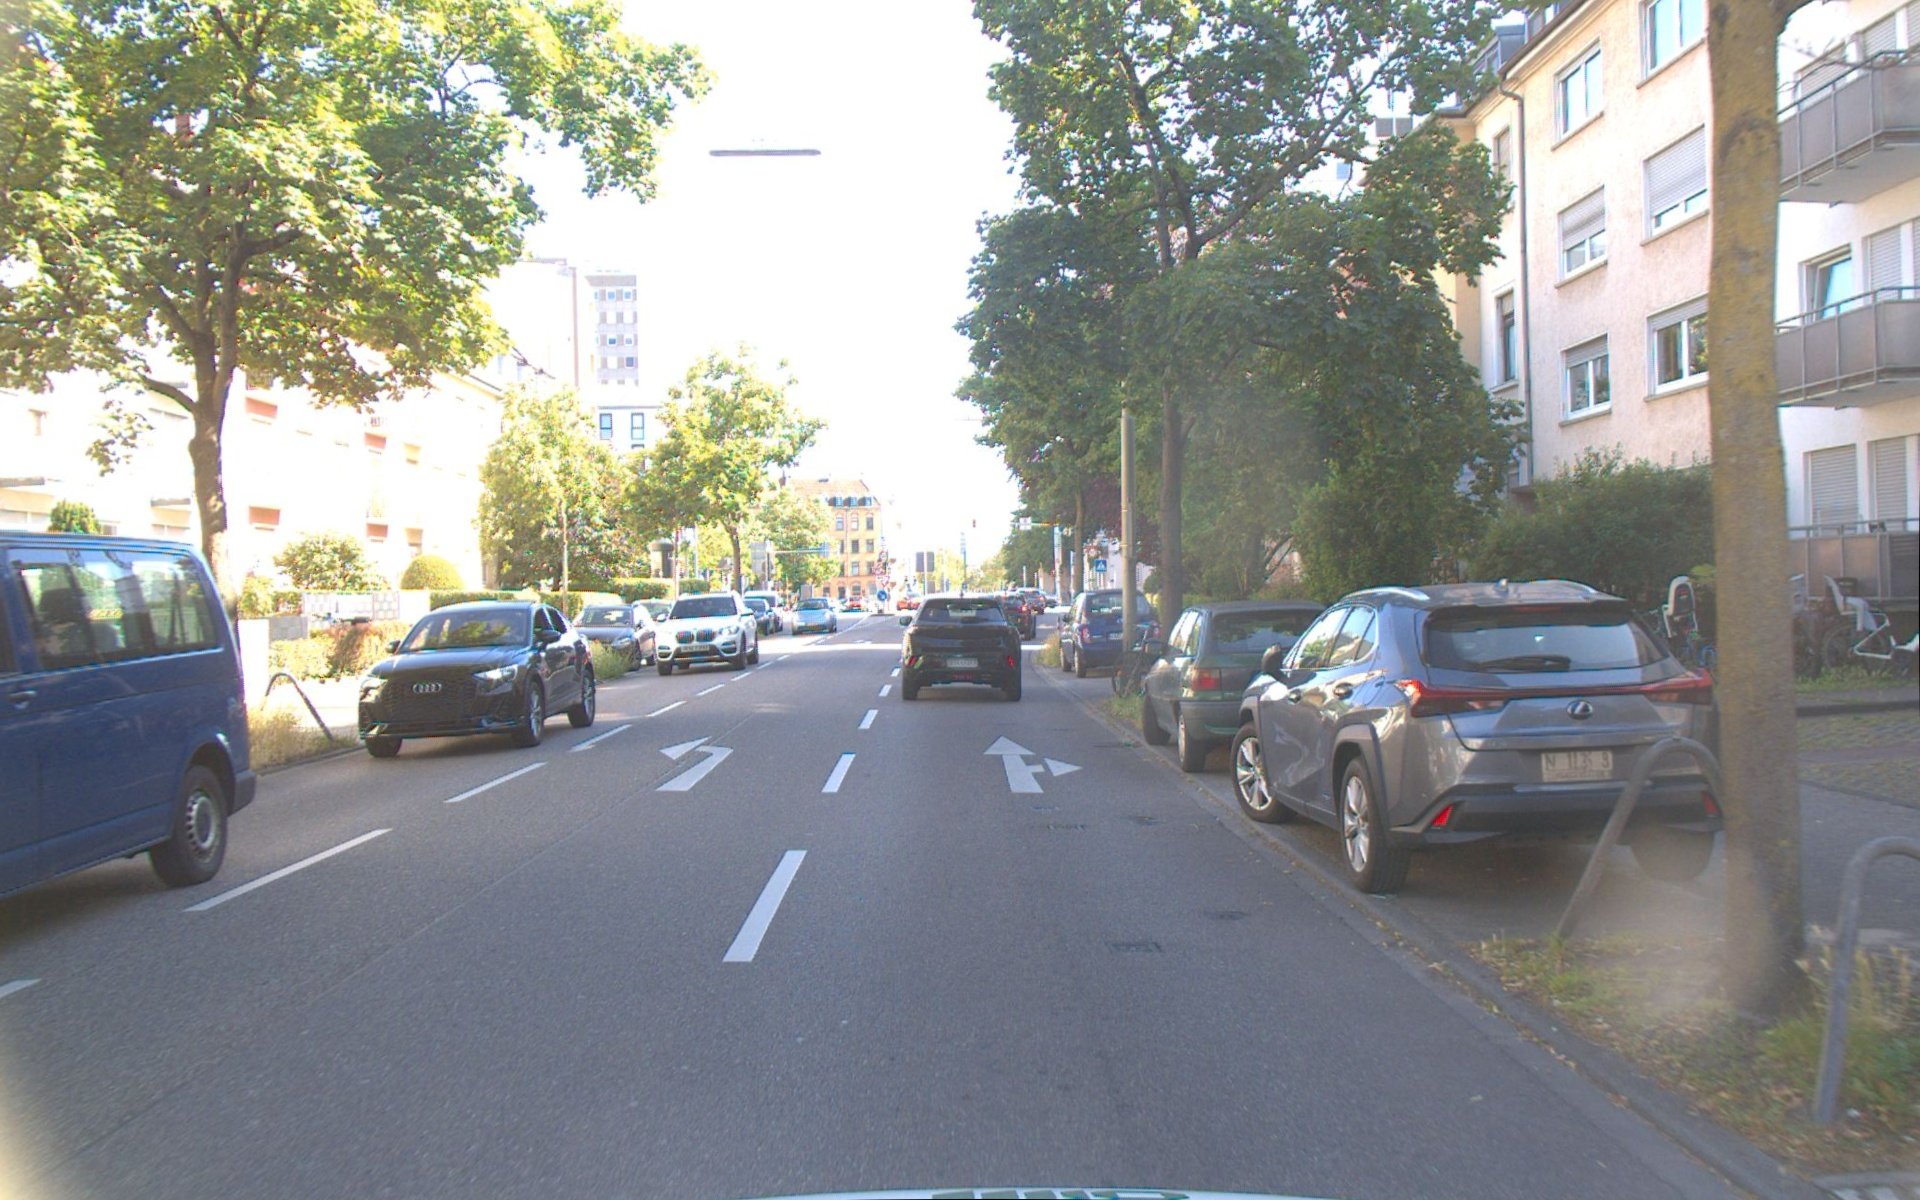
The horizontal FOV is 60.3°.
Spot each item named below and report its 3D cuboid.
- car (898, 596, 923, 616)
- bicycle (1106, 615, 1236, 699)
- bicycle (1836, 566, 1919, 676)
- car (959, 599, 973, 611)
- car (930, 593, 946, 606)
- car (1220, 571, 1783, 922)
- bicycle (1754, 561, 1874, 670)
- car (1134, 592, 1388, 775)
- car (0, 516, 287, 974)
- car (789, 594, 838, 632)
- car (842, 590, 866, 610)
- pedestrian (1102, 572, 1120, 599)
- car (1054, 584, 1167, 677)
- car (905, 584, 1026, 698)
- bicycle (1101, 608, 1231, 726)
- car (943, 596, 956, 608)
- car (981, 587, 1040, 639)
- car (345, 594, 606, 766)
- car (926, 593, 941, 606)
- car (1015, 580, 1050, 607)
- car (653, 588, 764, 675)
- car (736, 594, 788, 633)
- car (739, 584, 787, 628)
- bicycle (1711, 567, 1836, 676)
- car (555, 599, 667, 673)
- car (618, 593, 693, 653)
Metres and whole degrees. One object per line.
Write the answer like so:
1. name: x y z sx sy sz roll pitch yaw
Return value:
1. car: -3.836 0.463 128.792 1.735 1.478 3.885 -2 1 0
2. bicycle: 2.904 0.785 22.792 1.703 1.040 0.524 -4 -2 7
3. bicycle: 11.288 0.229 19.618 1.506 1.244 0.463 -4 0 30
4. car: 0.824 0.690 229.256 1.822 1.689 4.000 1 0 1
5. car: -2.753 -0.053 208.990 1.952 1.546 4.000 1 0 1
6. car: 2.783 0.641 9.572 1.680 1.515 4.232 -2 0 -2
7. bicycle: 11.056 0.186 21.474 0.579 1.309 1.689 -4 0 0
8. car: 2.647 0.664 15.379 1.579 1.407 3.976 -2 0 0
9. car: -5.002 0.663 7.685 1.767 1.944 4.711 -4 0 -1
10. car: -5.969 0.504 67.637 1.702 1.405 3.935 -3 1 -2
11. car: -9.151 0.025 143.064 1.754 1.645 4.000 -2 1 0
12. pedestrian: 9.706 -0.918 106.426 1.020 1.688 0.783 -2 0 -5
13. car: 2.759 0.522 30.946 1.528 1.541 3.653 -4 0 -3
14. car: 0.046 0.569 25.077 1.710 1.601 3.557 0 0 -1
15. bicycle: 2.388 0.748 19.034 1.652 1.258 0.465 -2 0 -40
16. car: -1.584 0.297 248.665 1.953 1.898 3.998 1 0 -2
17. car: 1.632 0.408 54.922 1.793 1.606 3.839 -2 1 0
18. car: -5.378 0.804 18.945 1.684 1.593 4.341 -4 1 -1
19. car: -3.112 -0.095 195.105 1.773 1.431 3.999 -2 1 -1
20. car: 4.195 -0.389 95.850 1.793 1.478 3.988 -2 1 0
21. car: -5.466 0.629 36.482 1.770 1.676 4.671 -4 1 -2
22. car: -8.108 0.530 67.991 1.637 1.482 4.111 -1 0 0
23. car: -8.820 0.231 74.485 1.782 1.866 4.560 -1 0 -3
24. bicycle: 10.454 0.257 21.333 0.610 1.309 1.842 -4 0 0
25. car: -8.077 0.786 38.645 1.749 1.519 4.492 -1 1 -2
26. car: -8.295 0.600 45.298 1.642 1.552 3.655 0 1 -4
